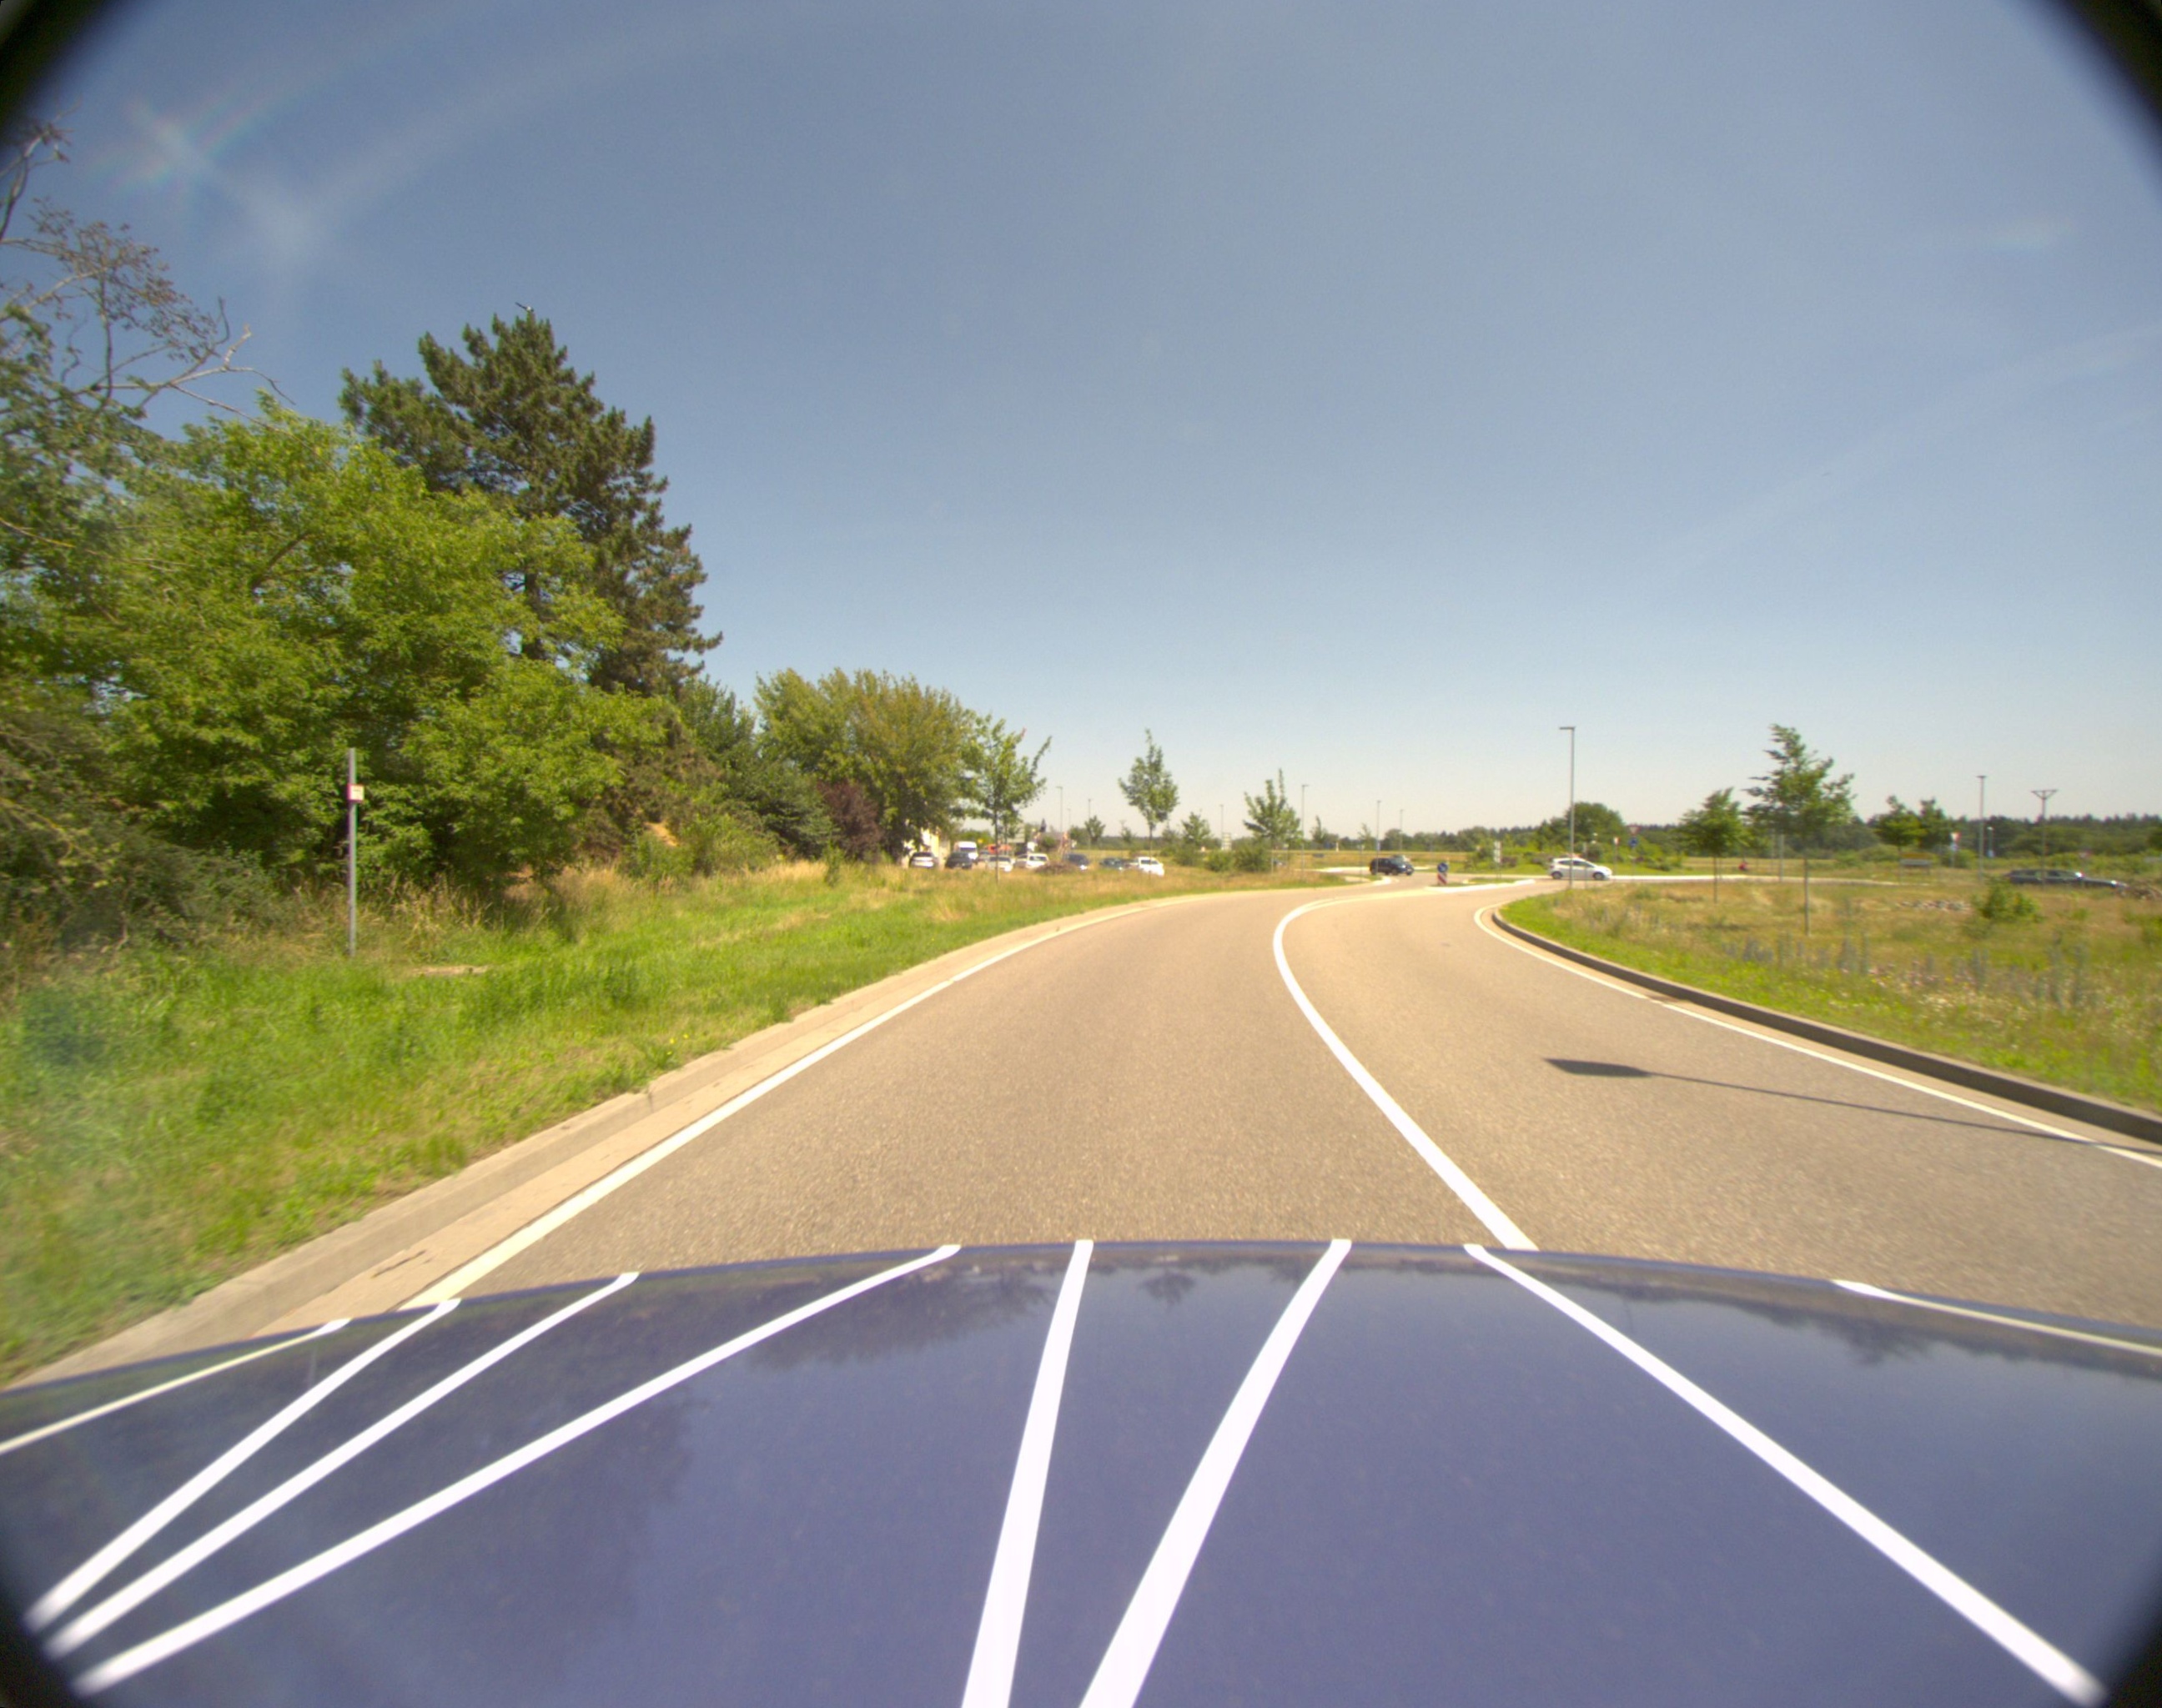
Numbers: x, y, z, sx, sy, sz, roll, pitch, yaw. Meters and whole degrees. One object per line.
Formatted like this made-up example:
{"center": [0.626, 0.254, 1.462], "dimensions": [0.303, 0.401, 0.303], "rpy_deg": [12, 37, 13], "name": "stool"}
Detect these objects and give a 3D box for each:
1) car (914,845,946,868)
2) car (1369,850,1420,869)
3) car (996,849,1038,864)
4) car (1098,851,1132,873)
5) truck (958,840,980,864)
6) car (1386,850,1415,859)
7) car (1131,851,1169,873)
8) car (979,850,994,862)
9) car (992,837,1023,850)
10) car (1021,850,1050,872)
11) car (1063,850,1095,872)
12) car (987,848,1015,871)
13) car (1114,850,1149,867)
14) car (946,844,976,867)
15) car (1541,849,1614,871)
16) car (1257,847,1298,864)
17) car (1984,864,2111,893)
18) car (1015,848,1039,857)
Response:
{"center": [-10.084, 0.183, 50.964], "dimensions": [1.774, 1.434, 3.965], "rpy_deg": [1, -1, -6], "name": "car"}
{"center": [28.018, 0.448, 68.133], "dimensions": [1.724, 1.553, 4.141], "rpy_deg": [-1, 2, -25], "name": "car"}
{"center": [-6.289, 0.256, 74.954], "dimensions": [3.988, 1.385, 1.654], "rpy_deg": [2, 1, 35], "name": "car"}
{"center": [2.285, 0.584, 52.537], "dimensions": [1.773, 1.434, 3.965], "rpy_deg": [1, -1, -6], "name": "car"}
{"center": [-12.129, -0.281, 82.368], "dimensions": [2.237, 2.492, 5.631], "rpy_deg": [1, 1, -7], "name": "truck"}
{"center": [51.548, 0.083, 122.738], "dimensions": [2.003, 1.477, 3.990], "rpy_deg": [1, 1, -26], "name": "car"}
{"center": [4.742, 0.516, 52.671], "dimensions": [1.747, 1.419, 3.996], "rpy_deg": [1, 1, -8], "name": "car"}
{"center": [-12.858, 0.295, 102.847], "dimensions": [1.855, 1.487, 3.996], "rpy_deg": [1, 1, -10], "name": "car"}
{"center": [-15.331, -2.229, 158.488], "dimensions": [6.128, 2.569, 2.357], "rpy_deg": [1, 1, 6], "name": "car"}
{"center": [-3.132, 0.505, 51.905], "dimensions": [1.773, 1.434, 3.965], "rpy_deg": [1, -1, -6], "name": "car"}
{"center": [-0.164, 0.489, 51.744], "dimensions": [1.773, 1.434, 3.965], "rpy_deg": [1, -1, -6], "name": "car"}
{"center": [-5.320, 0.396, 50.405], "dimensions": [1.774, 1.434, 3.964], "rpy_deg": [1, -1, -7], "name": "car"}
{"center": [4.116, 0.379, 62.620], "dimensions": [1.748, 1.304, 3.995], "rpy_deg": [1, 1, -13], "name": "car"}
{"center": [-7.917, 0.137, 50.364], "dimensions": [1.774, 1.434, 3.965], "rpy_deg": [1, -1, -6], "name": "car"}
{"center": [37.405, 0.426, 57.245], "dimensions": [4.507, 1.553, 1.873], "rpy_deg": [1, 2, 35], "name": "car"}
{"center": [21.558, 0.141, 83.597], "dimensions": [1.872, 1.812, 4.510], "rpy_deg": [-1, 2, -25], "name": "car"}
{"center": [57.204, 1.400, 45.119], "dimensions": [1.873, 1.426, 4.507], "rpy_deg": [-3, 3, -42], "name": "car"}
{"center": [-9.346, -0.247, 130.055], "dimensions": [1.957, 1.639, 4.877], "rpy_deg": [-1, 0, -33], "name": "car"}
